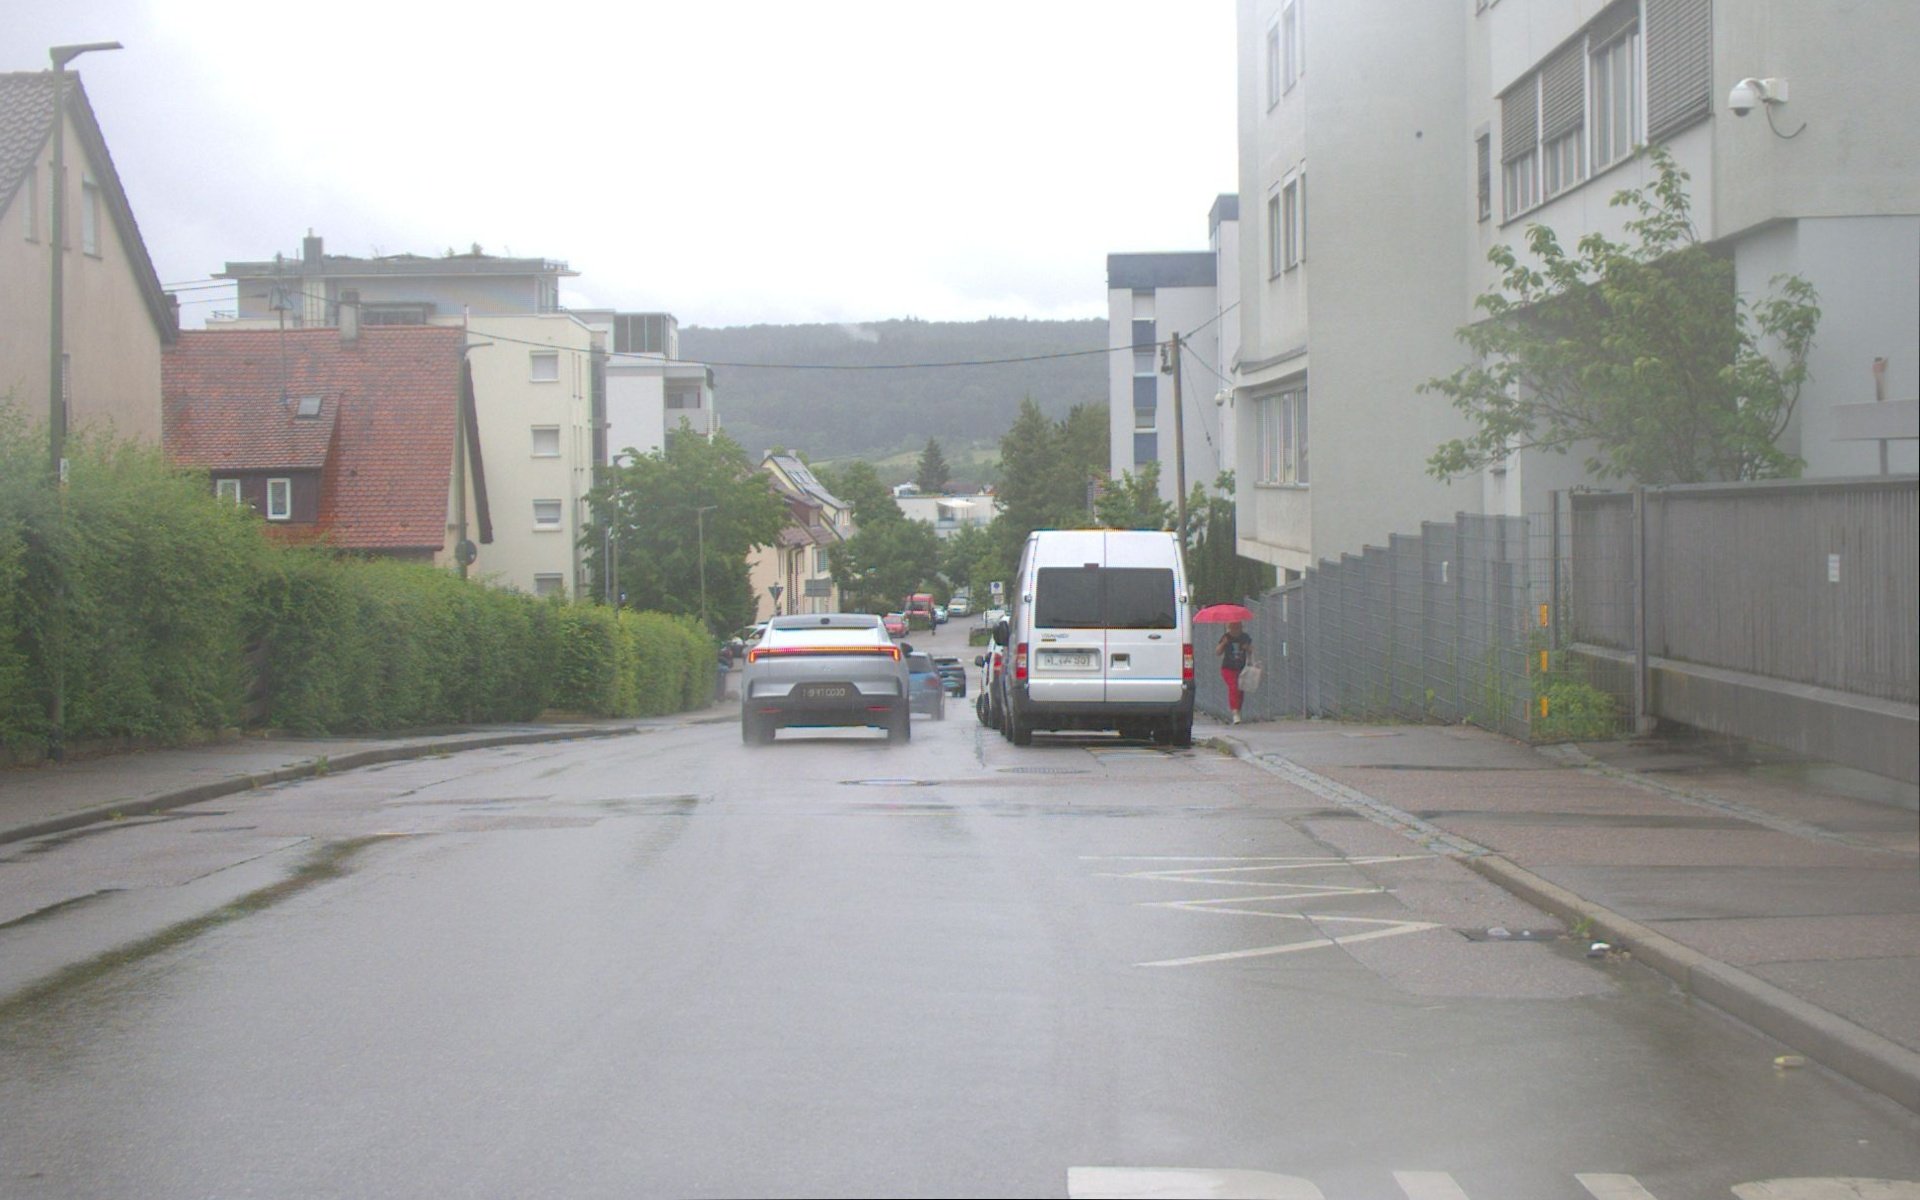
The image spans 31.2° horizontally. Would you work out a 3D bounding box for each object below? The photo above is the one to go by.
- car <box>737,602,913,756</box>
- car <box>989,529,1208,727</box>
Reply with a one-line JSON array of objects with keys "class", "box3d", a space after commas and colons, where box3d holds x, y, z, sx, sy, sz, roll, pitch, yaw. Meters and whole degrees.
[{"class": "car", "box3d": [-1.627, 0.905, 41.605, 1.993, 1.497, 4.671, -1, 3, -2]}, {"class": "car", "box3d": [1.470, 0.322, 38.070, 1.993, 2.007, 4.000, -2, -1, -3]}]
